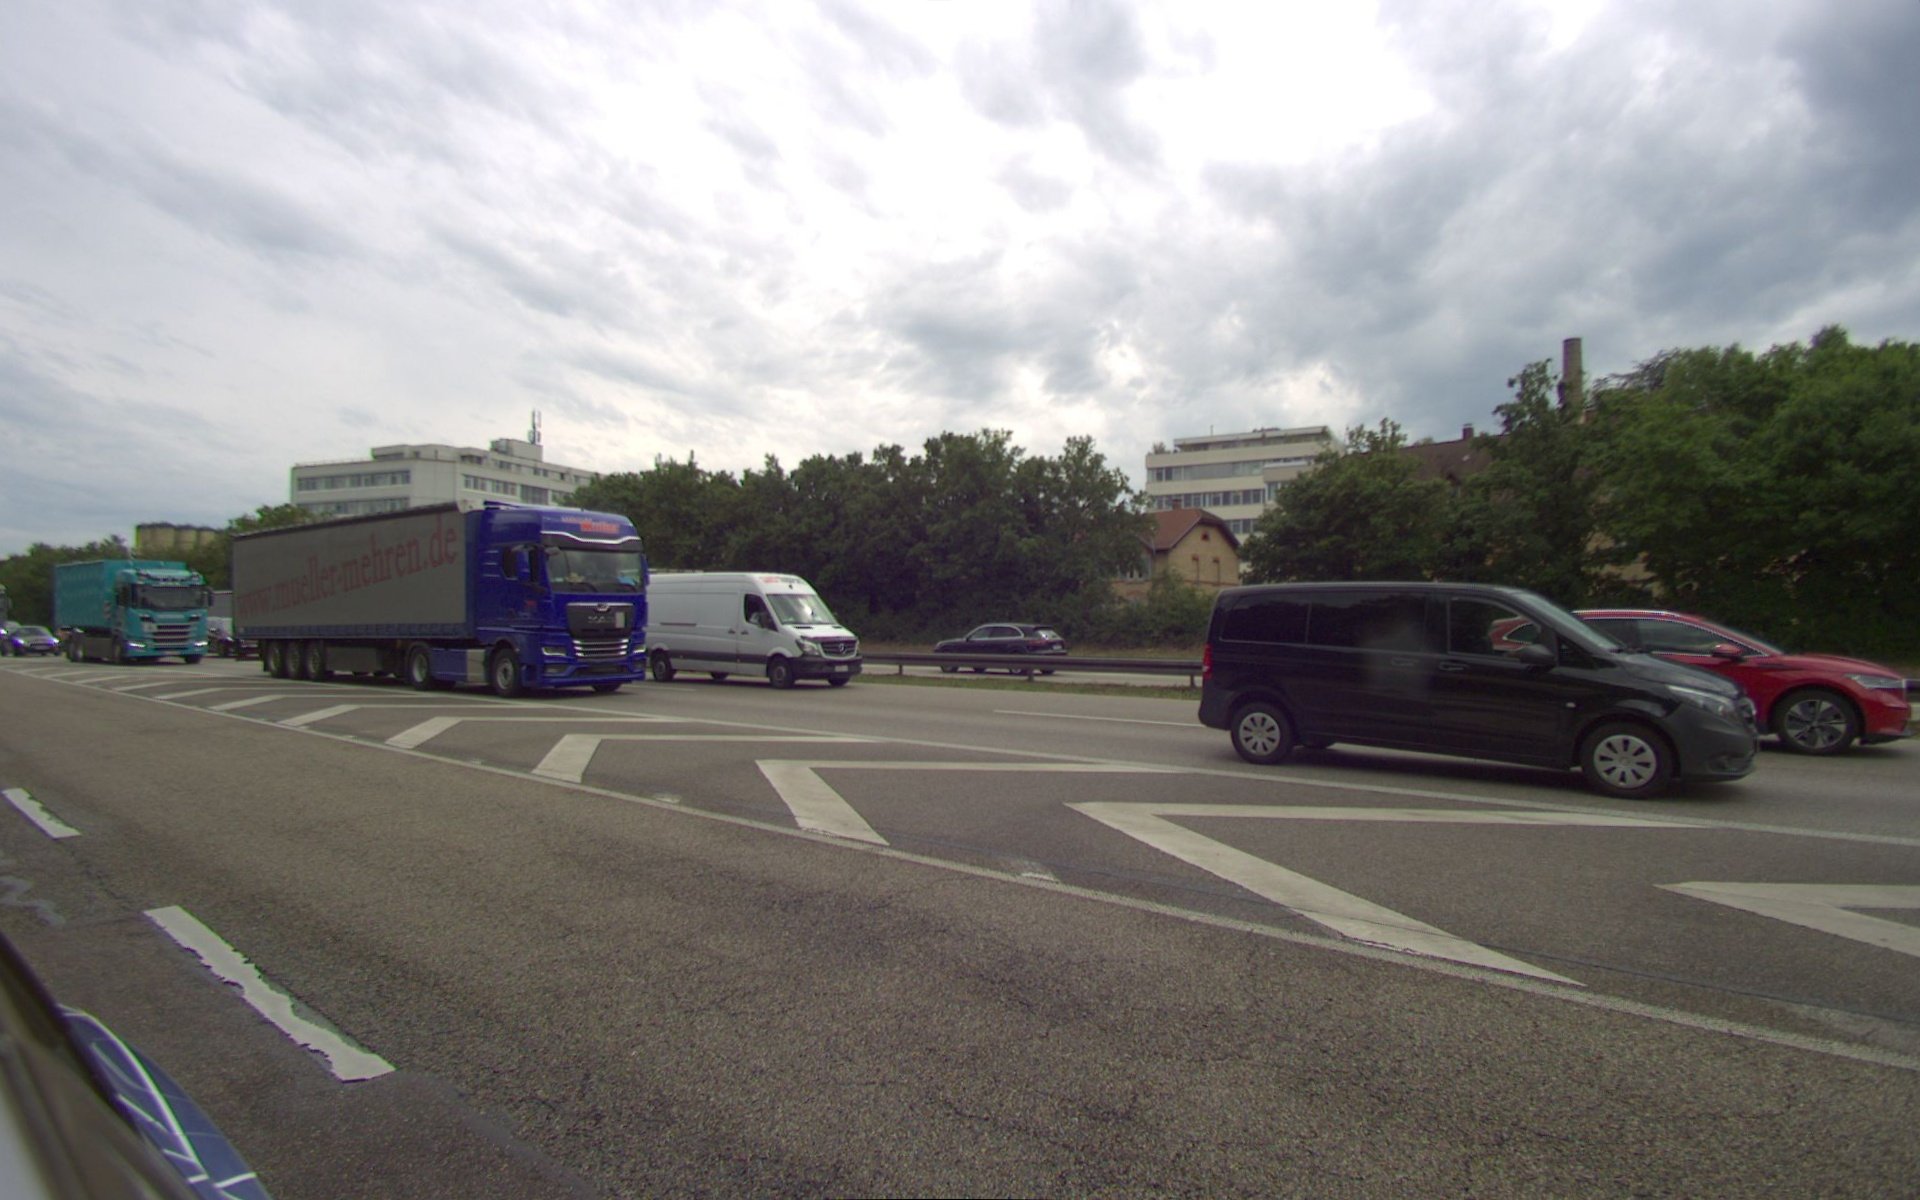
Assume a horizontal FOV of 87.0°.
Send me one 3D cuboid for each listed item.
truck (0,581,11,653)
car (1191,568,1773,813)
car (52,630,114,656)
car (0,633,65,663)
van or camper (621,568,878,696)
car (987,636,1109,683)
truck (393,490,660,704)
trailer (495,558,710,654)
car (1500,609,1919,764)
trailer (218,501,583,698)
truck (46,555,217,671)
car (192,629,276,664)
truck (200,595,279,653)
[{"bbox_3d":[-59.160,1.049,58.979,13.121,3.955,3.289,-1,-2,37],"label":"truck"},{"bbox_3d":[4.944,0.751,10.024,4.807,1.865,1.974,-2,-2,40],"label":"car"},{"bbox_3d":[-50.829,2.449,58.626,4.048,1.444,1.875,-1,-2,37],"label":"car"},{"bbox_3d":[-43.889,2.235,47.657,3.991,1.332,1.737,-1,-2,35],"label":"car"},{"bbox_3d":[-5.143,0.756,23.905,6.949,2.641,2.029,-1,-3,39],"label":"van or camper"},{"bbox_3d":[2.763,1.841,32.164,3.544,1.401,1.646,-1,-2,37],"label":"car"},{"bbox_3d":[-9.366,0.023,21.673,5.917,3.991,2.644,-1,-2,37],"label":"truck"},{"bbox_3d":[-17.564,0.437,48.782,13.811,4.122,2.920,-2,-2,39],"label":"trailer"},{"bbox_3d":[8.956,0.949,12.273,3.943,1.579,1.748,-2,-3,42],"label":"car"},{"bbox_3d":[-14.767,0.146,25.724,13.895,4.005,2.648,-1,-2,37],"label":"trailer"},{"bbox_3d":[-32.309,0.584,39.290,10.105,4.031,2.669,-1,-2,36],"label":"truck"},{"bbox_3d":[-31.989,2.017,44.565,3.993,1.444,1.875,-1,-2,37],"label":"car"},{"bbox_3d":[-51.540,1.753,72.306,8.102,3.914,2.325,-1,-3,38],"label":"truck"}]
